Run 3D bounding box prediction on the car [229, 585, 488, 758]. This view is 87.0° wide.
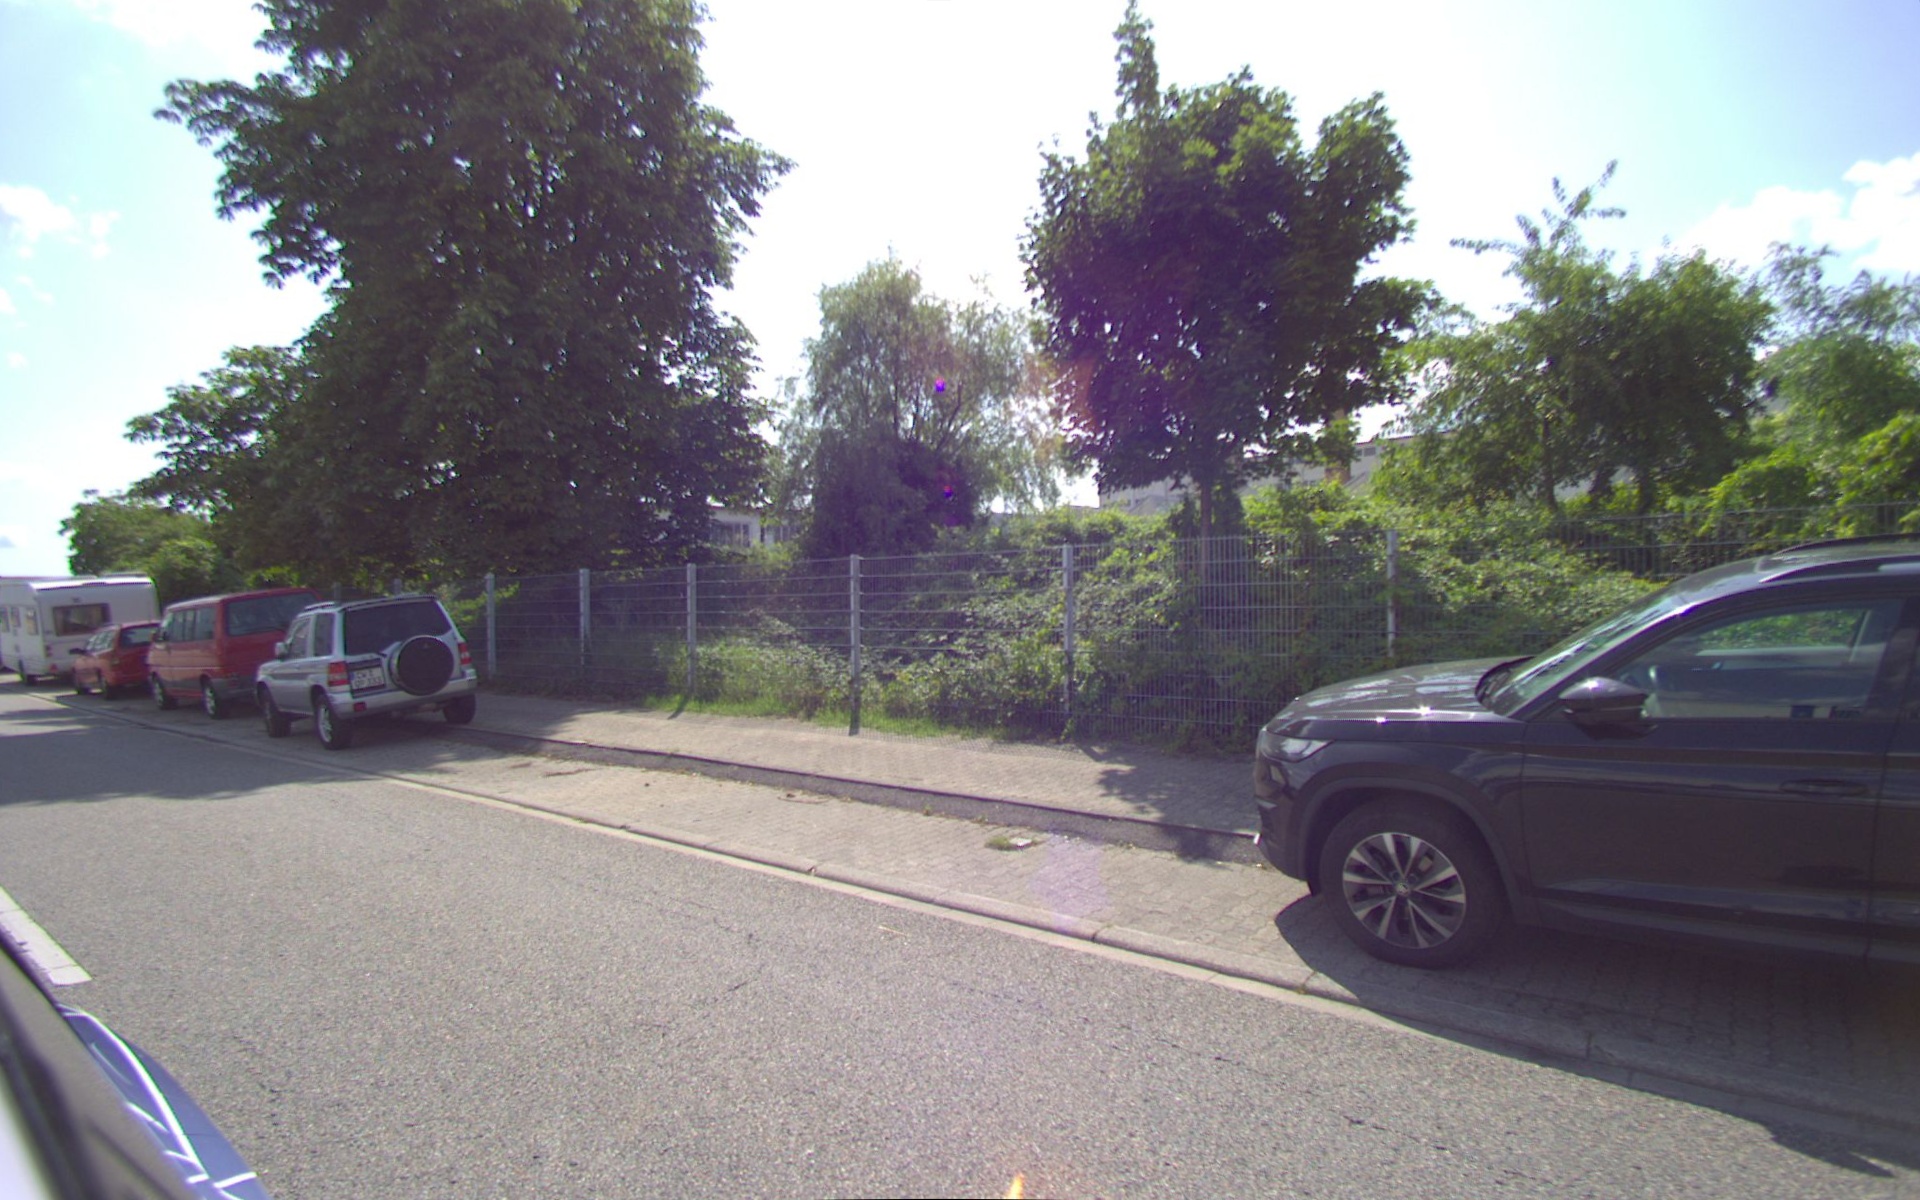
[{"bbox_3d":[-7.893,0.828,13.147,3.825,1.815,1.683,-2,3,41],"label":"car"}]

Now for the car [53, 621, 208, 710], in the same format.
[{"bbox_3d":[-17.450,1.291,21.232,4.264,1.543,1.609,-1,4,39],"label":"car"}]

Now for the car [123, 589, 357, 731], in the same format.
[{"bbox_3d":[-12.538,0.928,17.497,4.953,1.968,1.881,-1,5,39],"label":"car"}]

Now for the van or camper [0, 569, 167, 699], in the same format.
[{"bbox_3d":[-22.718,0.795,25.740,6.823,2.824,2.242,-1,3,38],"label":"van or camper"}]

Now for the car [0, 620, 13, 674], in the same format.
[{"bbox_3d":[-34.273,1.616,34.820,4.730,1.807,1.809,-2,-1,39],"label":"car"}]

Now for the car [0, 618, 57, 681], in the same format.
[{"bbox_3d":[-29.279,1.498,30.789,4.436,1.704,1.669,-2,4,36],"label":"car"}]

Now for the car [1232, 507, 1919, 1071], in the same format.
[{"bbox_3d":[3.535,0.555,3.707,4.633,1.758,1.594,-2,1,41],"label":"car"}]
